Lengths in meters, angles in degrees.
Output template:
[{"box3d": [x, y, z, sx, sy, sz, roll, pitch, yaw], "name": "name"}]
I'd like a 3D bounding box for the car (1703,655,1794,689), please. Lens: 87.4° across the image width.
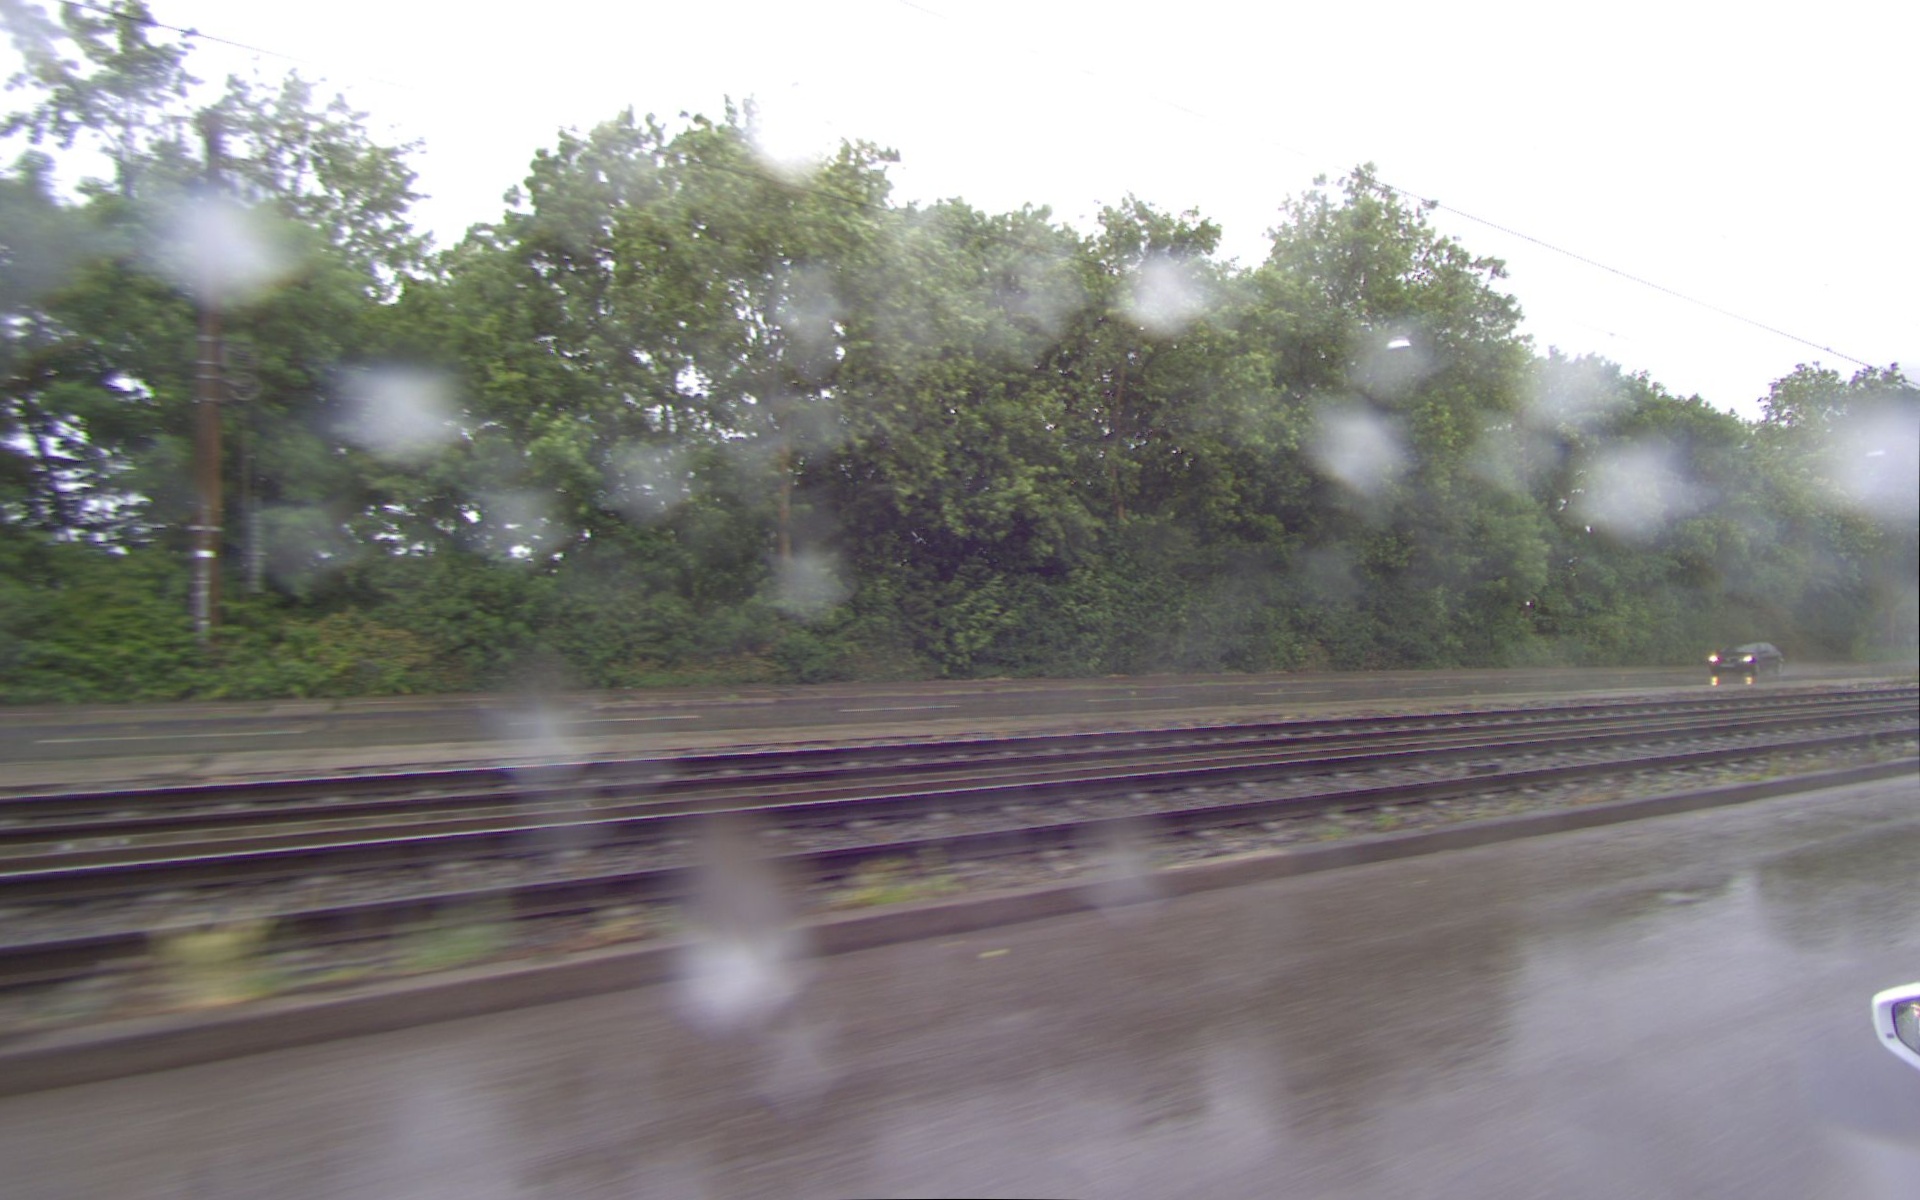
[{"box3d": [34.308, 3.090, 43.674, 4.331, 1.348, 1.762, 1, -1, -32], "name": "car"}]
